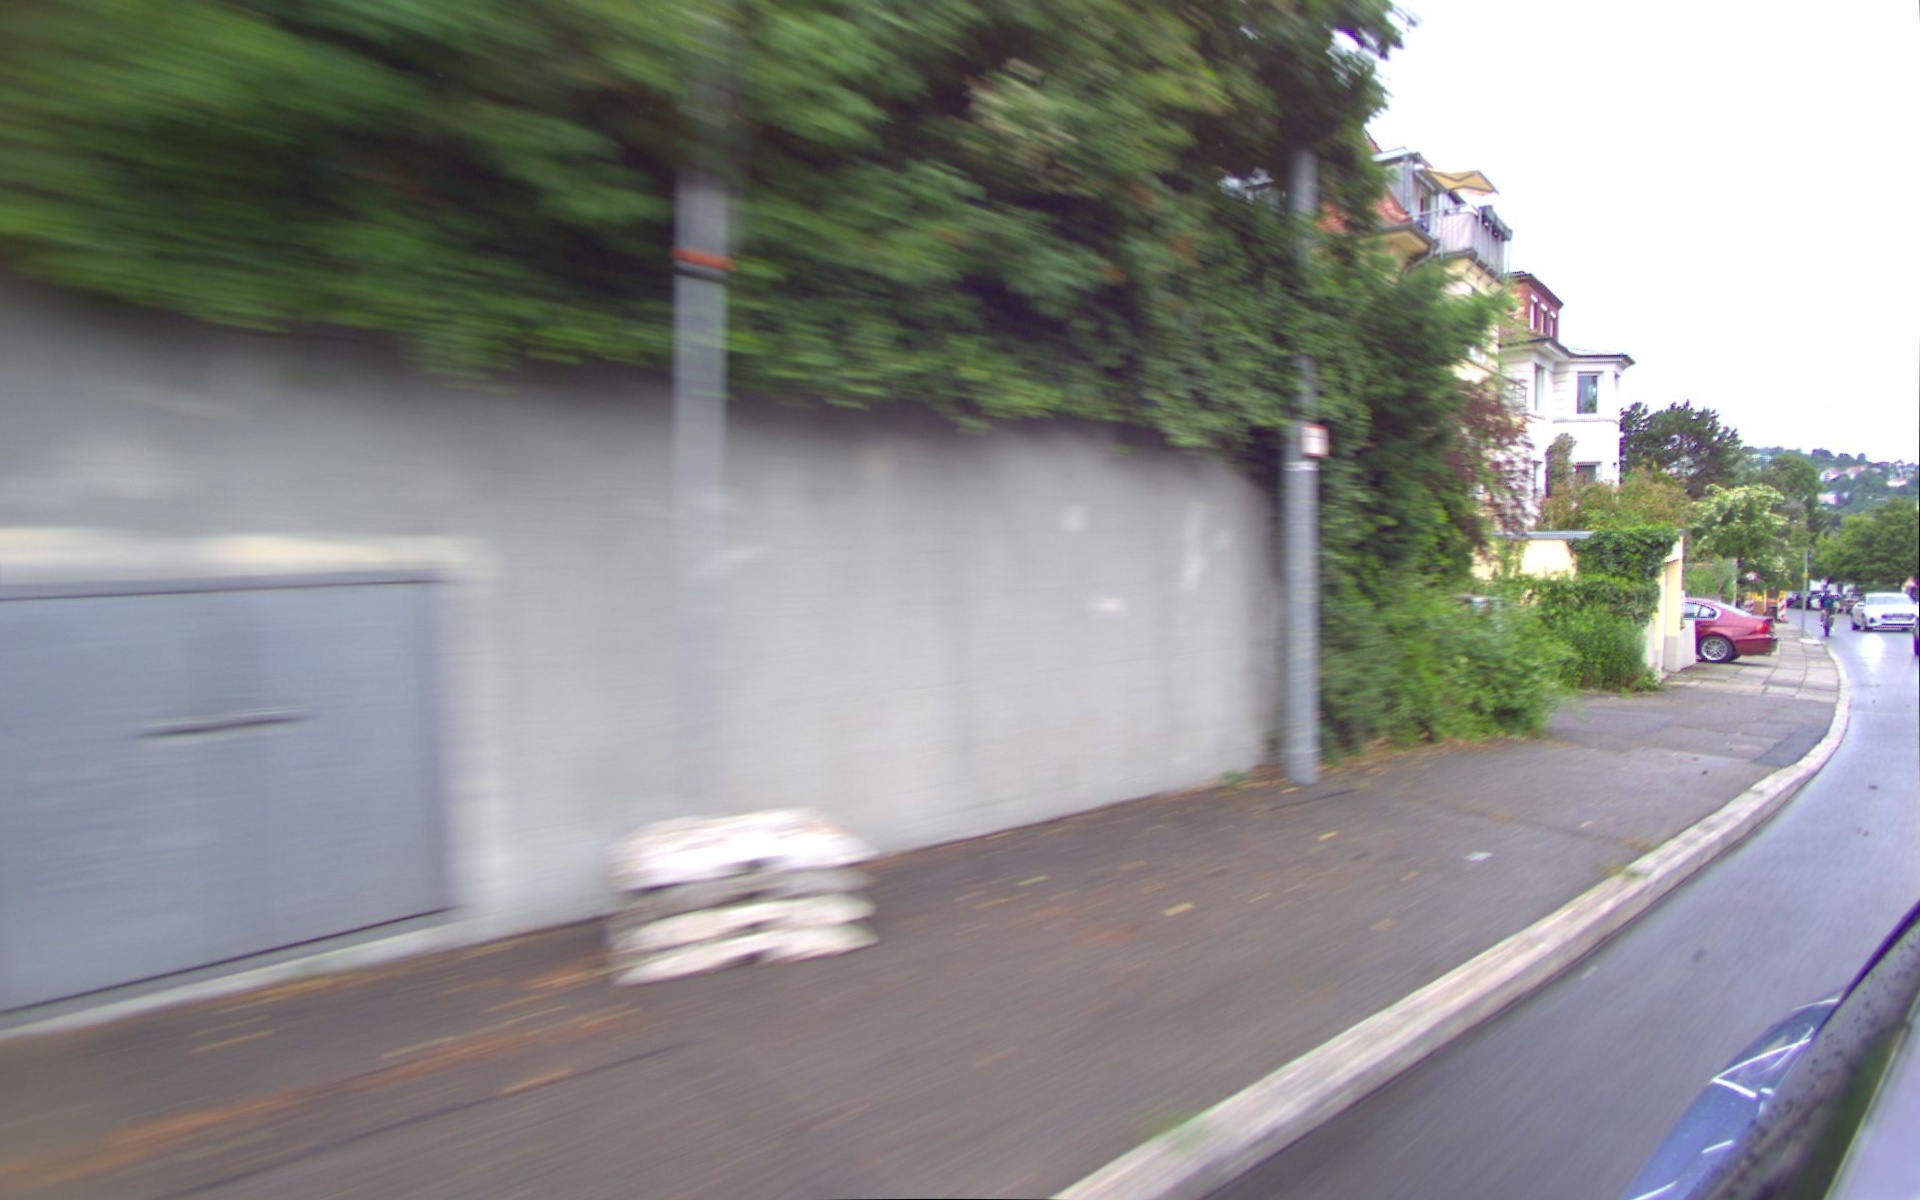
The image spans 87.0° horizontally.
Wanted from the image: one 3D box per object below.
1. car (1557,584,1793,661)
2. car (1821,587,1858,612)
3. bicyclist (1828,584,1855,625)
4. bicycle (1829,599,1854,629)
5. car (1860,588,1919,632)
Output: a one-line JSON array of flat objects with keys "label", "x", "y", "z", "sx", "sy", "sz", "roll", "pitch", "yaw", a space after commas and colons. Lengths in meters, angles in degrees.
[{"label": "car", "x": 16.412, "y": 0.452, "z": 23.364, "sx": 4.173, "sy": 1.423, "sz": 1.804, "roll": 4, "pitch": 3, "yaw": 45}, {"label": "car", "x": 74.546, "y": -0.069, "z": 85.817, "sx": 1.988, "sy": 2.038, "sz": 3.948, "roll": 2, "pitch": 2, "yaw": 36}, {"label": "bicyclist", "x": 33.456, "y": 0.170, "z": 38.417, "sx": 0.681, "sy": 1.557, "sz": 0.774, "roll": -2, "pitch": 0, "yaw": 37}, {"label": "bicycle", "x": 33.427, "y": 0.519, "z": 38.375, "sx": 0.587, "sy": 1.113, "sz": 1.508, "roll": -1, "pitch": 1, "yaw": 37}, {"label": "car", "x": 39.773, "y": 0.382, "z": 42.856, "sx": 2.007, "sy": 1.760, "sz": 4.539, "roll": -1, "pitch": 0, "yaw": 36}]
